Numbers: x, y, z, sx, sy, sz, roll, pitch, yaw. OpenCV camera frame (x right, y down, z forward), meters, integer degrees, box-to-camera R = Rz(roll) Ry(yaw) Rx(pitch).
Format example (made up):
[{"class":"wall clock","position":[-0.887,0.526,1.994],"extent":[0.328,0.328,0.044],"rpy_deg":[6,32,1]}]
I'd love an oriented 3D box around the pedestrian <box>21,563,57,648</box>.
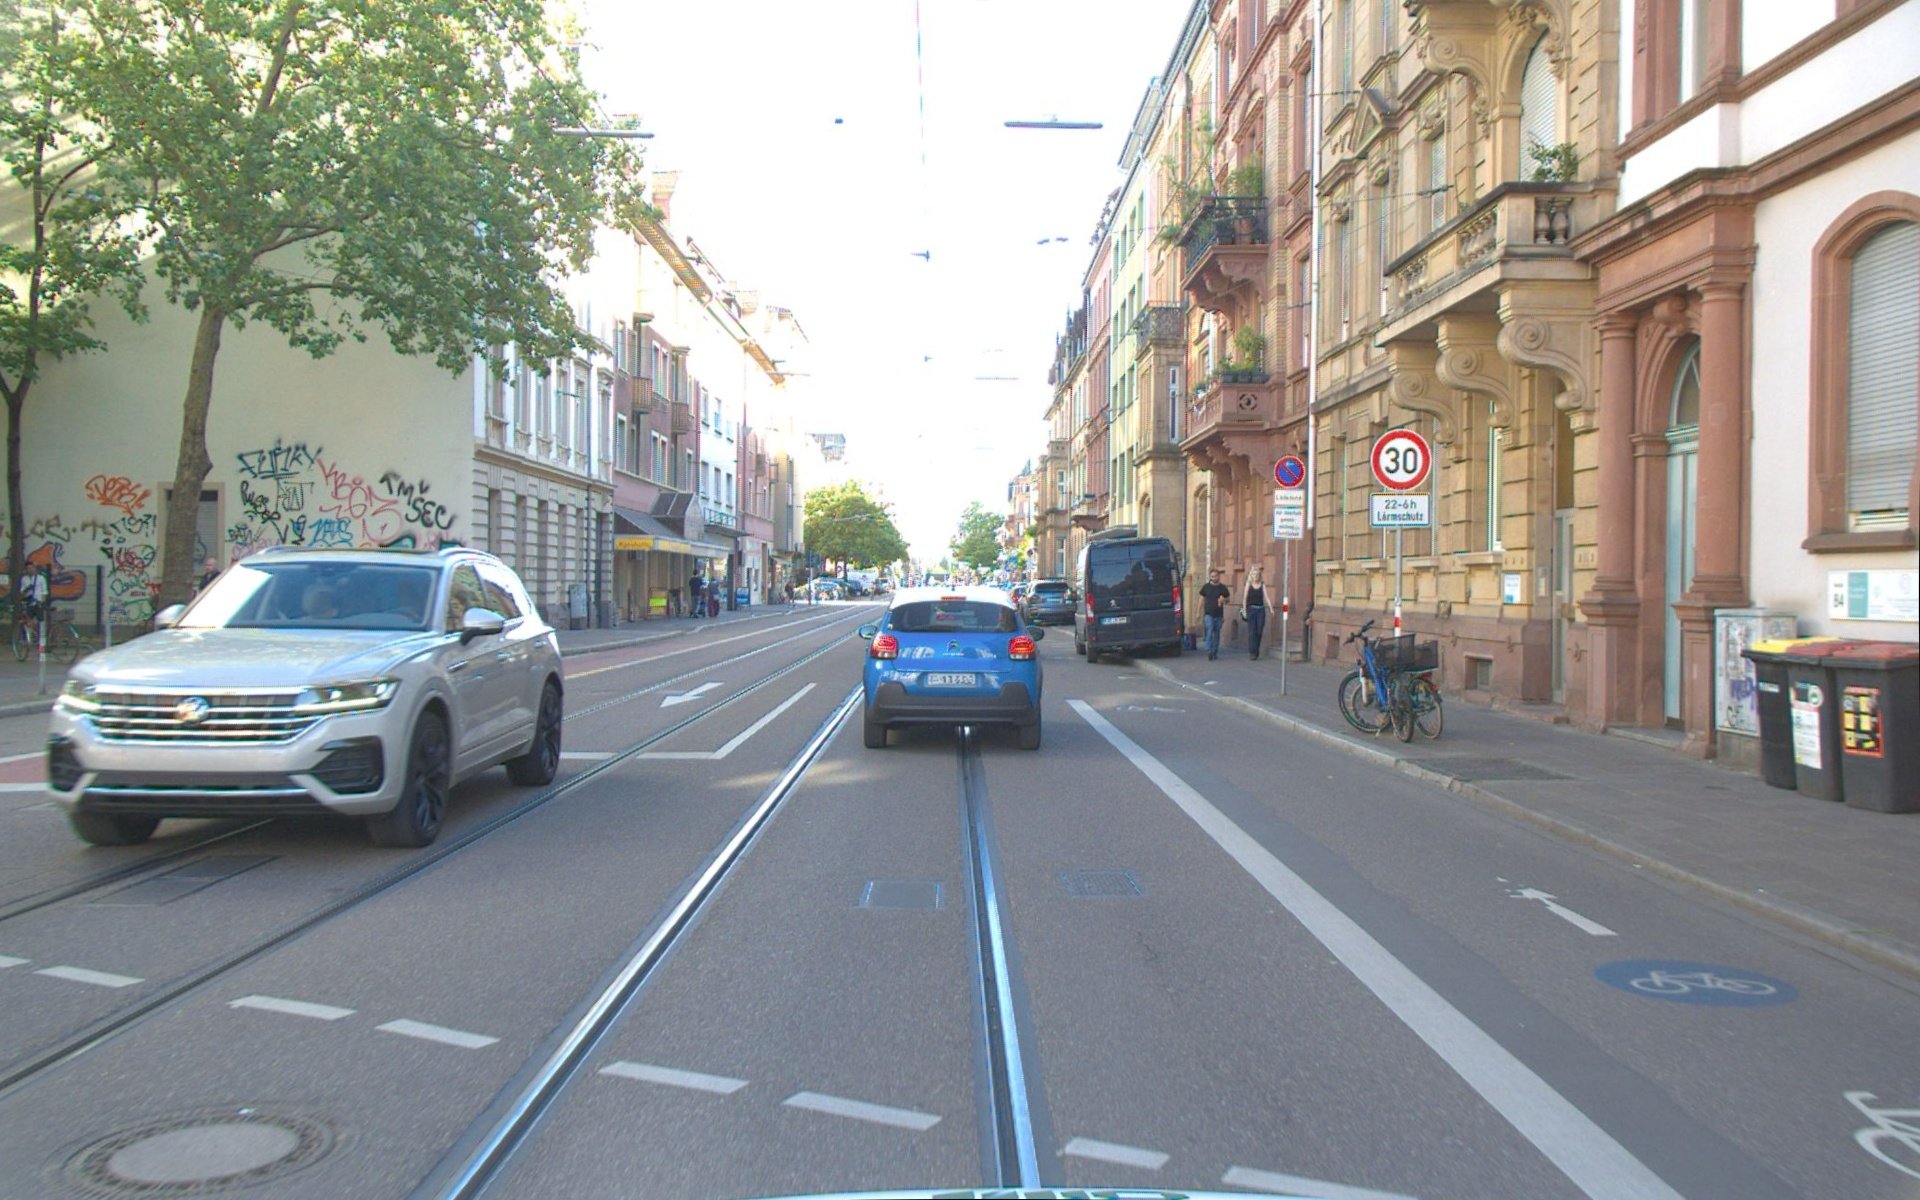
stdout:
[{"class":"pedestrian","position":[-19.275,0.111,34.610],"extent":[0.446,1.748,0.547],"rpy_deg":[0,0,-2]}]

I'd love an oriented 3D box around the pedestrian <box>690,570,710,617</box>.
[{"class":"pedestrian","position":[-10.097,-0.257,64.264],"extent":[0.696,1.795,0.570],"rpy_deg":[0,0,-2]}]

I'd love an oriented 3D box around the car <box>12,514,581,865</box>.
[{"class":"car","position":[-3.893,0.432,10.696],"extent":[1.953,1.774,4.561],"rpy_deg":[0,1,-2]}]

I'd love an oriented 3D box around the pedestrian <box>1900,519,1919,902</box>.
[{"class":"pedestrian","position":[4.684,0.503,7.328],"extent":[0.615,1.731,0.681],"rpy_deg":[0,0,-10]}]

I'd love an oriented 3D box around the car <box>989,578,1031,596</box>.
[{"class":"car","position":[4.634,-1.176,153.692],"extent":[3.759,1.646,1.791],"rpy_deg":[0,0,-3]}]

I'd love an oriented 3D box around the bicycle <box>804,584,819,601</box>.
[{"class":"bicycle","position":[-11.518,-0.582,128.180],"extent":[1.099,1.342,3.640],"rpy_deg":[0,1,-6]}]

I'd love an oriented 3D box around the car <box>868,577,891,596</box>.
[{"class":"car","position":[-7.179,-1.212,146.973],"extent":[1.953,1.680,3.999],"rpy_deg":[0,1,-2]}]

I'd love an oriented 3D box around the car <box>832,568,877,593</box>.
[{"class":"car","position":[-11.285,-2.117,177.097],"extent":[4.256,2.626,2.191],"rpy_deg":[-1,1,-27]}]

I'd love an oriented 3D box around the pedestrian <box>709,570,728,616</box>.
[{"class":"pedestrian","position":[-9.424,-0.267,64.498],"extent":[0.697,1.795,0.653],"rpy_deg":[0,0,-9]}]

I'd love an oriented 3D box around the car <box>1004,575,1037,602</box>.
[{"class":"car","position":[4.091,-0.794,112.661],"extent":[1.965,1.701,4.390],"rpy_deg":[-1,1,-1]}]

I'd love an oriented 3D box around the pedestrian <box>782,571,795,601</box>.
[{"class":"pedestrian","position":[-9.734,-0.792,93.808],"extent":[0.671,1.667,0.675],"rpy_deg":[0,0,-2]}]

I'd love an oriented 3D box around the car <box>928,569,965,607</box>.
[{"class":"car","position":[-0.758,-0.664,92.007],"extent":[1.953,2.049,3.999],"rpy_deg":[0,1,-2]}]

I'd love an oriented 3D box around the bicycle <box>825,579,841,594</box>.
[{"class":"bicycle","position":[-9.829,-1.030,128.096],"extent":[1.099,1.166,3.640],"rpy_deg":[0,1,-6]}]

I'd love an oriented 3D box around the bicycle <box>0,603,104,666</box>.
[{"class":"bicycle","position":[-15.773,0.580,28.673],"extent":[1.878,1.052,0.665],"rpy_deg":[0,1,26]}]

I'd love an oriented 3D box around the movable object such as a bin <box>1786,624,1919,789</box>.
[{"class":"movable object such as a bin","position":[6.233,0.726,11.523],"extent":[0.652,1.095,0.571],"rpy_deg":[-1,1,-2]}]

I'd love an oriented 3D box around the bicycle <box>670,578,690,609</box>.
[{"class":"bicycle","position":[-10.890,-0.255,64.283],"extent":[0.610,1.180,2.058],"rpy_deg":[0,1,-14]}]

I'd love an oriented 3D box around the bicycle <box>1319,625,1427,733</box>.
[{"class":"bicycle","position":[4.074,0.756,16.414],"extent":[0.423,0.964,1.760],"rpy_deg":[0,1,-8]}]

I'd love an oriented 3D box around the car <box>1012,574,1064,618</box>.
[{"class":"car","position":[3.246,-0.178,69.148],"extent":[1.867,1.788,3.999],"rpy_deg":[0,1,-2]}]

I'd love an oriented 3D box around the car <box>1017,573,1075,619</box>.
[{"class":"car","position":[3.287,-0.179,64.024],"extent":[1.965,1.701,4.805],"rpy_deg":[0,1,-1]}]

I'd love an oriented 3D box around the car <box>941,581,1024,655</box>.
[{"class":"car","position":[0.440,0.344,35.787],"extent":[1.633,1.504,3.999],"rpy_deg":[0,1,-2]}]

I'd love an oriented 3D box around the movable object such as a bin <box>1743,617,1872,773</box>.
[{"class":"movable object such as a bin","position":[6.225,0.688,12.169],"extent":[0.652,1.095,0.571],"rpy_deg":[-1,1,-2]}]

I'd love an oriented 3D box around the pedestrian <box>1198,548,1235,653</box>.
[{"class":"pedestrian","position":[5.072,0.001,32.711],"extent":[0.573,2.049,0.823],"rpy_deg":[0,0,-2]}]

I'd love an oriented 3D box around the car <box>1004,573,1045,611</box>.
[{"class":"car","position":[3.405,-0.446,88.008],"extent":[1.965,1.701,4.392],"rpy_deg":[2,3,-1]}]

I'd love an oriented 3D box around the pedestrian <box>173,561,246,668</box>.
[{"class":"pedestrian","position":[-12.810,0.238,28.248],"extent":[0.668,1.796,1.026],"rpy_deg":[0,0,10]}]

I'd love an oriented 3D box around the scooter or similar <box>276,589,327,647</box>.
[{"class":"scooter or similar","position":[-14.297,0.382,35.919],"extent":[0.921,1.243,0.765],"rpy_deg":[0,0,-13]}]

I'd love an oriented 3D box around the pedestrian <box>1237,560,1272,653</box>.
[{"class":"pedestrian","position":[5.751,0.125,32.302],"extent":[0.542,1.813,0.606],"rpy_deg":[0,0,-2]}]

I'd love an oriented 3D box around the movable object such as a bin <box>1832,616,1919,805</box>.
[{"class":"movable object such as a bin","position":[6.260,0.713,10.928],"extent":[0.652,1.173,0.594],"rpy_deg":[-2,1,-2]}]

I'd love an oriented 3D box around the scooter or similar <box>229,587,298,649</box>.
[{"class":"scooter or similar","position":[-14.631,0.363,34.783],"extent":[1.207,1.280,0.765],"rpy_deg":[0,0,-13]}]

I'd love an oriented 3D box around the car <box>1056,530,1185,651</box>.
[{"class":"car","position":[3.466,-0.230,36.826],"extent":[2.225,2.479,5.719],"rpy_deg":[0,1,-1]}]

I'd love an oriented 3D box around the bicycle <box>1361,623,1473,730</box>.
[{"class":"bicycle","position":[4.525,0.735,16.473],"extent":[0.423,0.964,1.760],"rpy_deg":[0,1,-8]}]

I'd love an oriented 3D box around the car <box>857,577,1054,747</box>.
[{"class":"car","position":[-0.158,0.523,16.715],"extent":[1.641,1.503,3.996],"rpy_deg":[0,1,-5]}]

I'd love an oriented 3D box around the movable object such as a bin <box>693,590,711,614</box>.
[{"class":"movable object such as a bin","position":[-10.117,0.063,64.967],"extent":[0.598,0.930,0.695],"rpy_deg":[0,0,-1]}]
